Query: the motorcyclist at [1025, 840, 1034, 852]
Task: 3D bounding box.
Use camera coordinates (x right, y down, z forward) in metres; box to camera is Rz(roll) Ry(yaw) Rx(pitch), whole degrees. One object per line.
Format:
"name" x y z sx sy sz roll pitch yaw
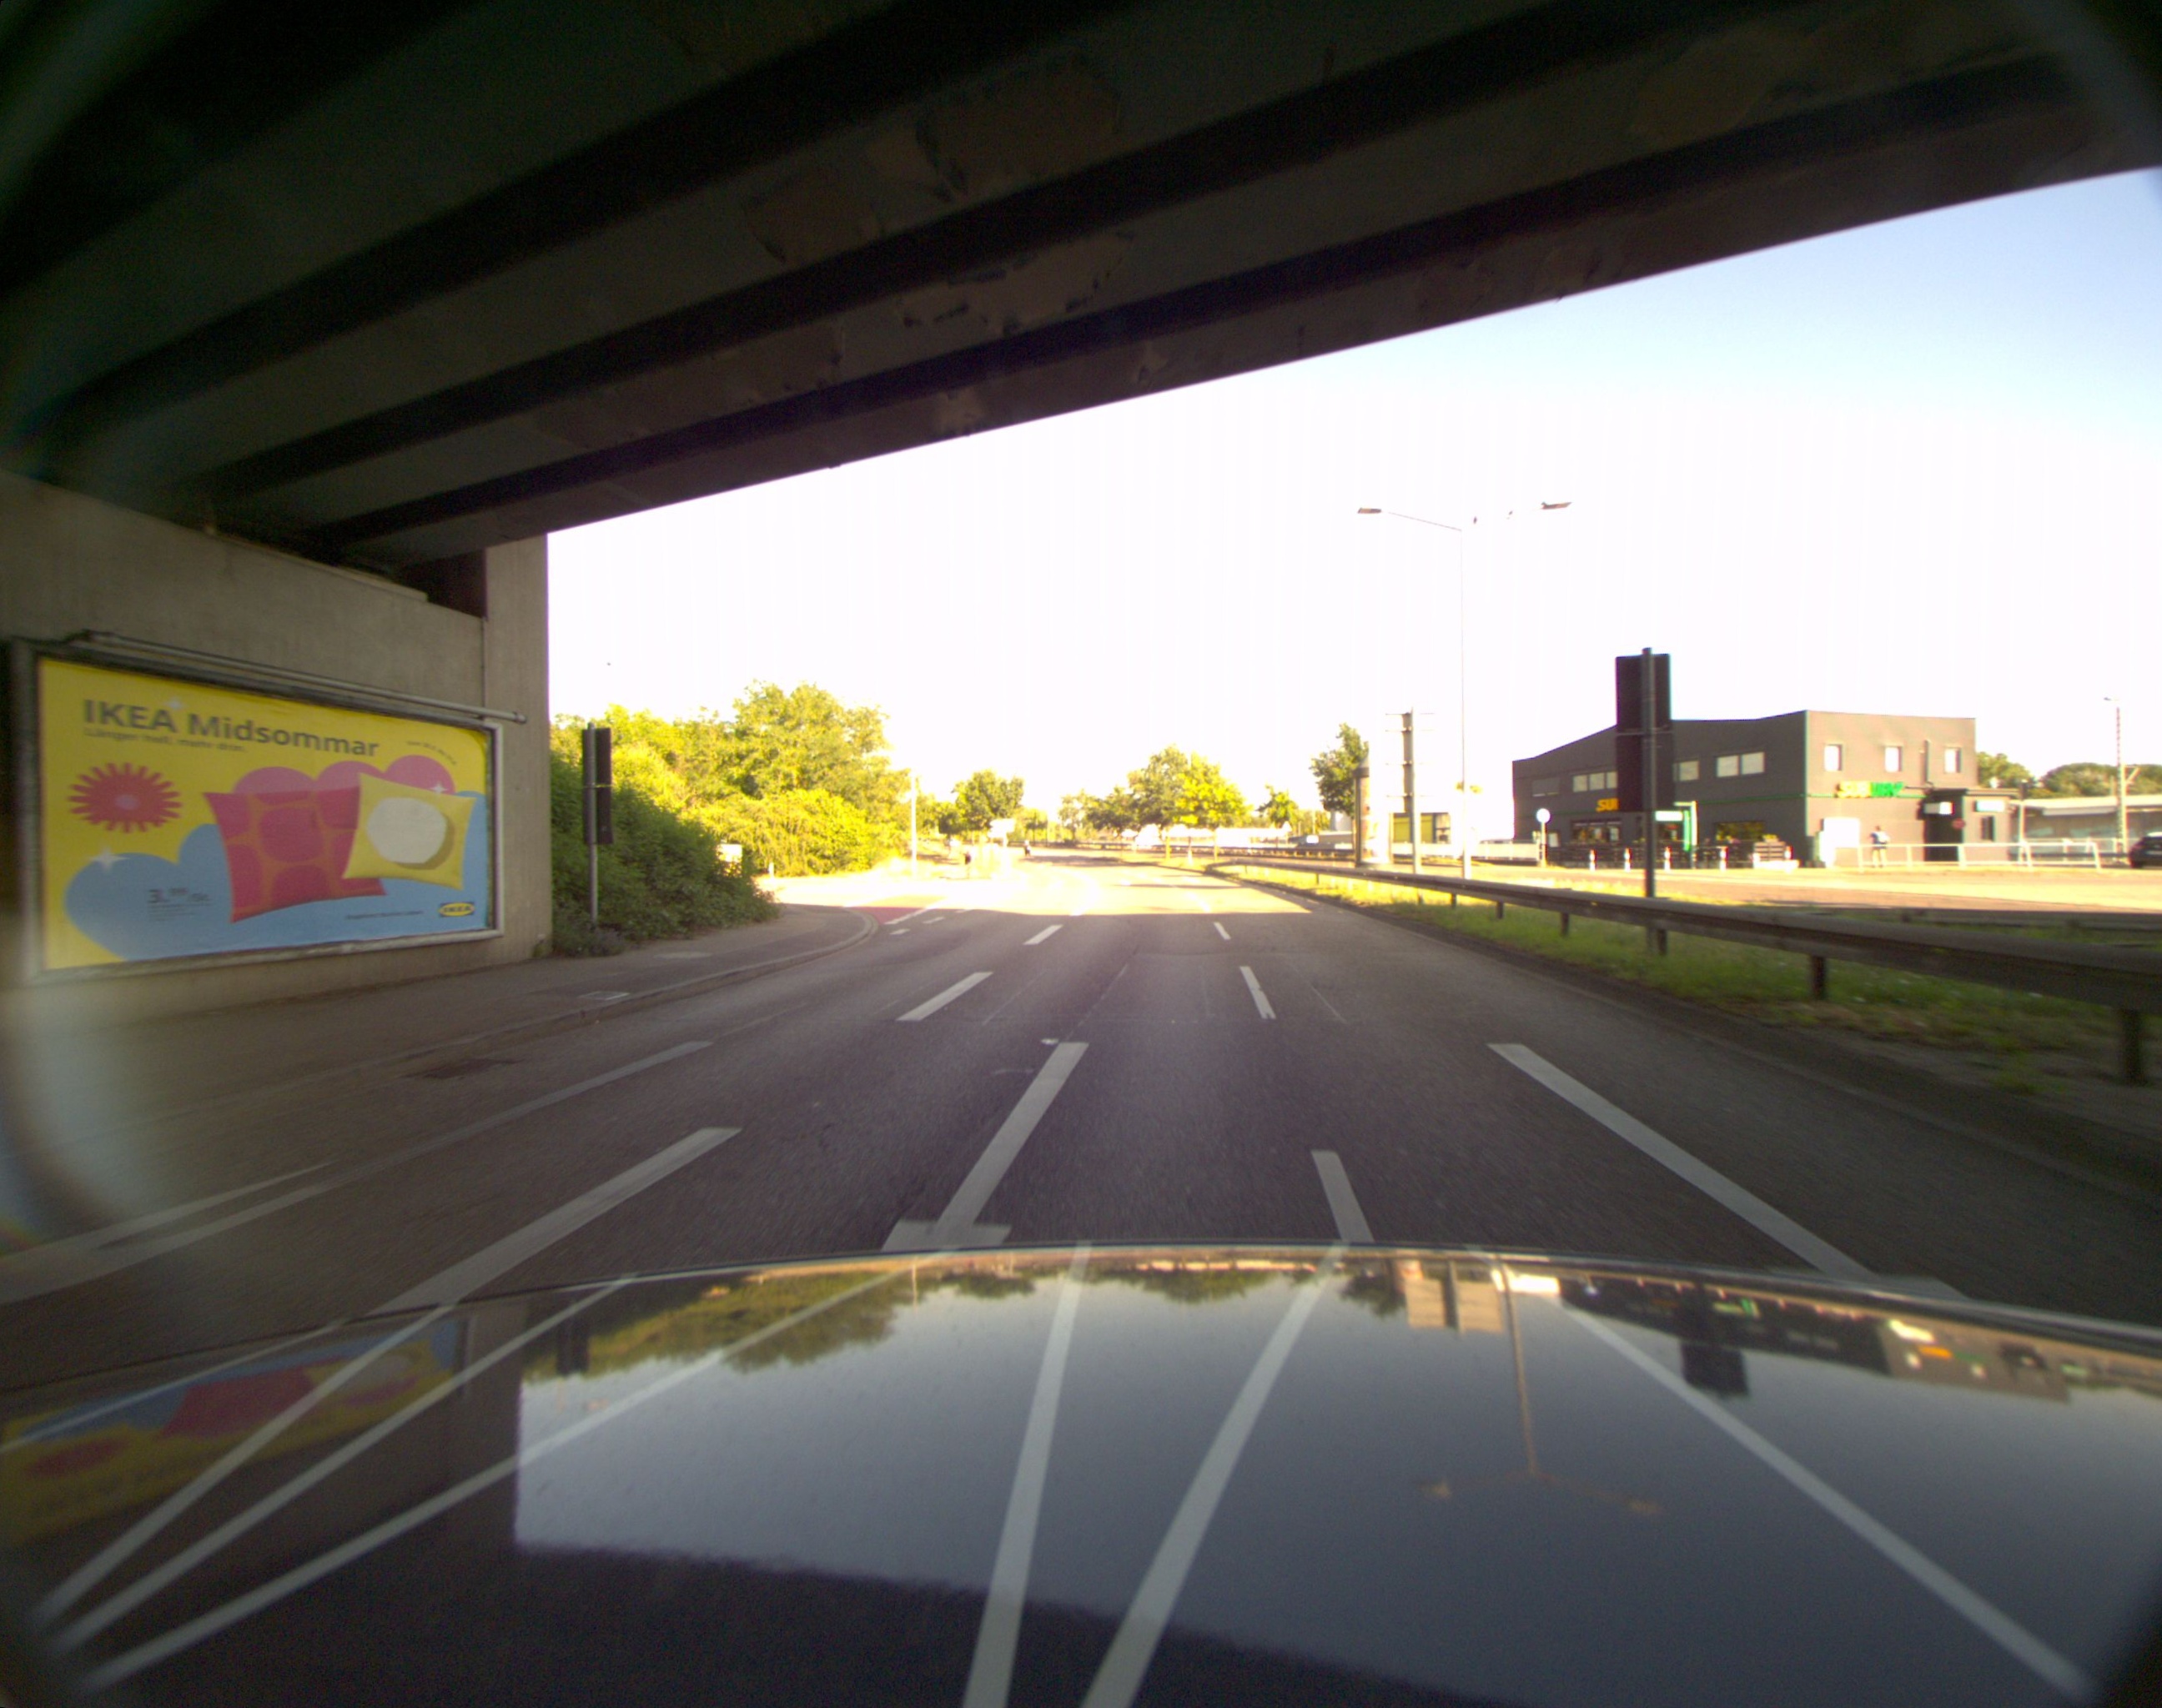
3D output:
"motorcyclist" -6.115 -0.929 90.450 0.839 1.433 0.879 -2 1 14

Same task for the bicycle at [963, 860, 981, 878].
"bicycle" -6.935 0.929 48.198 0.783 1.051 2.493 -2 1 -14

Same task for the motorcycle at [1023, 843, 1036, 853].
"motorcycle" -6.105 -0.709 90.456 0.810 1.040 2.355 -2 1 14

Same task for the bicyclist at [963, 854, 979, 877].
"bicyclist" -6.995 0.725 48.292 0.844 1.413 1.112 -3 1 -14

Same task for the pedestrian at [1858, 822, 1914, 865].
"pedestrian" 35.517 -0.467 33.537 1.274 1.825 1.085 -2 1 8
